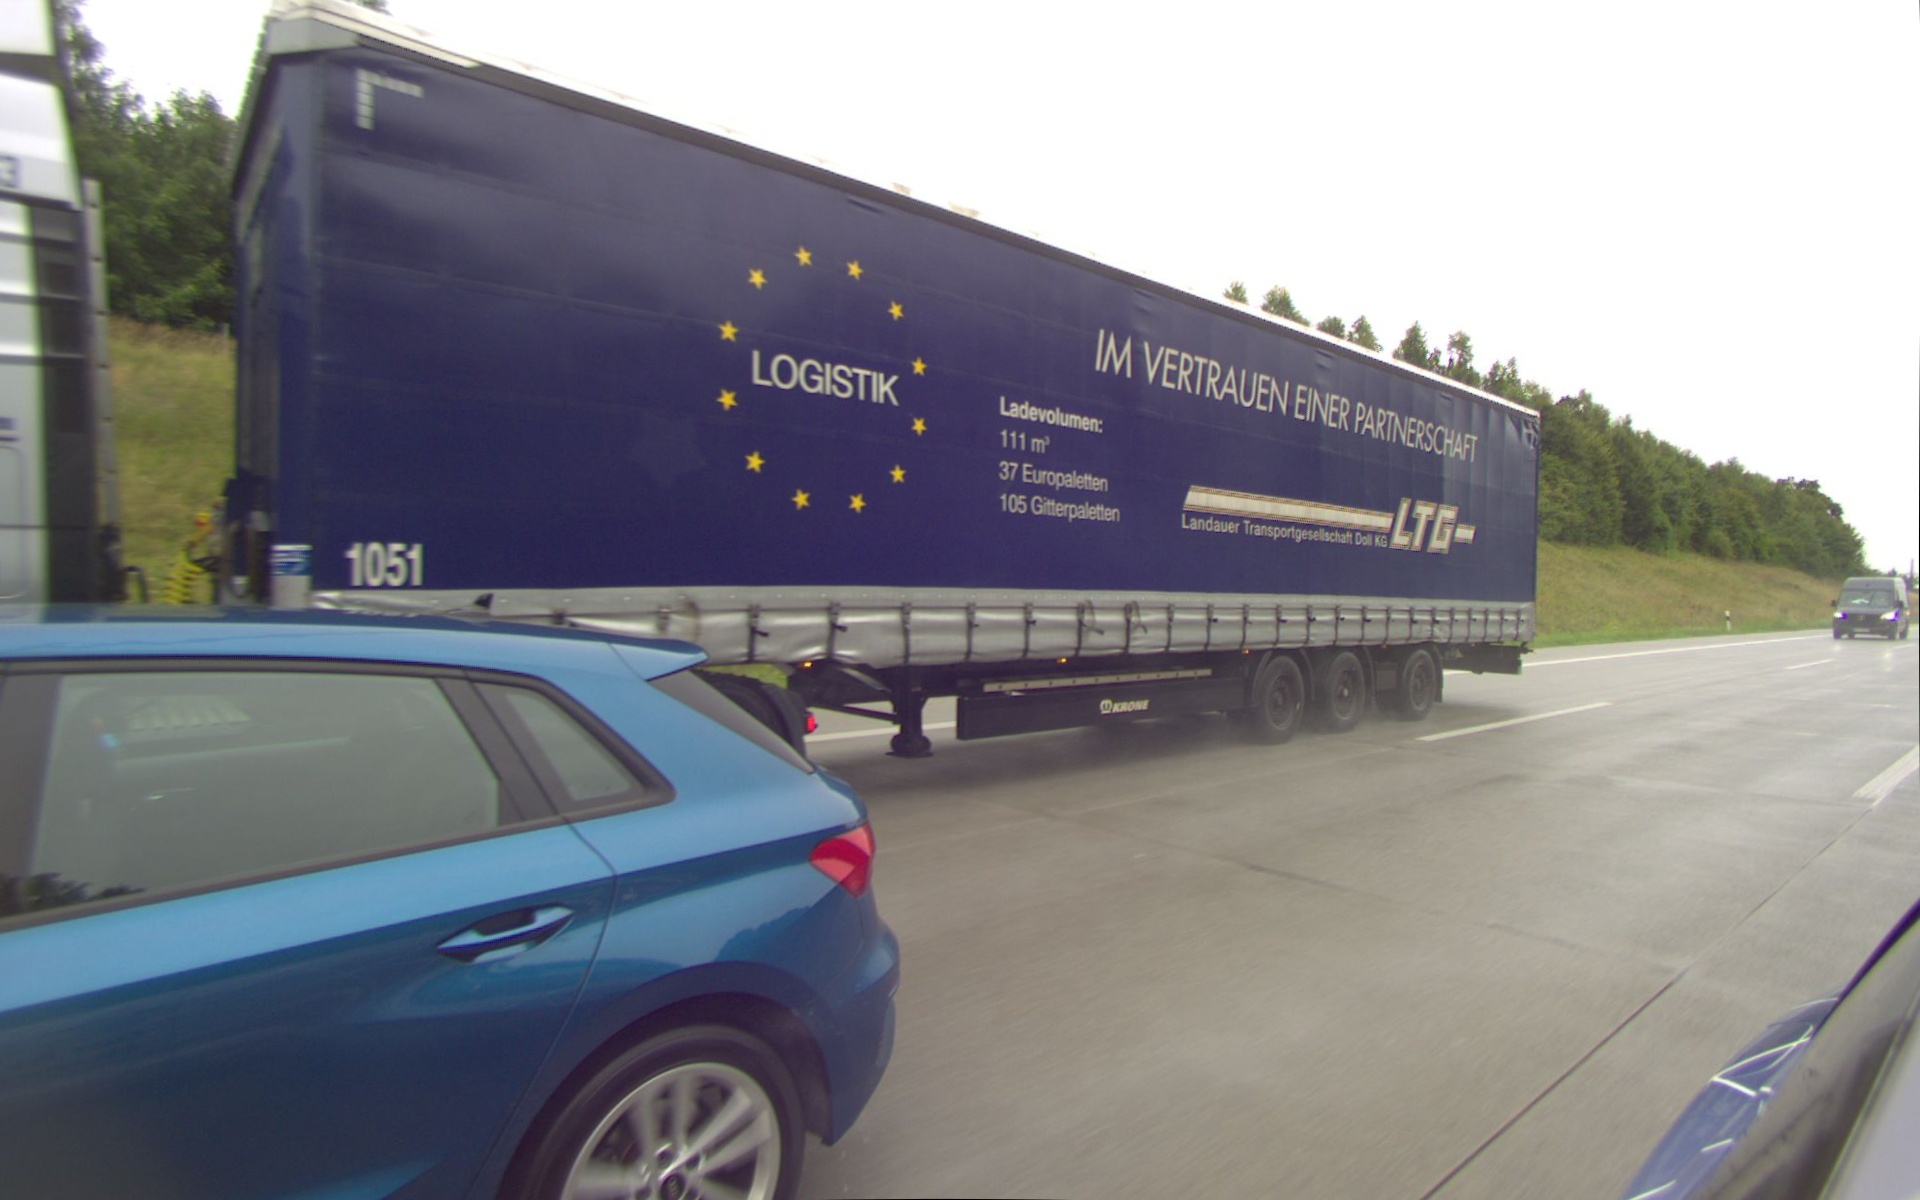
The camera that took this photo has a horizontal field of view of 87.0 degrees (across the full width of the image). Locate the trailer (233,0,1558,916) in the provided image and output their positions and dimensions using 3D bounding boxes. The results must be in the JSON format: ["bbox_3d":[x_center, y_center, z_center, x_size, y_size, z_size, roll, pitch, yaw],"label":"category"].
[{"bbox_3d":[1.884,-0.865,10.325,14.939,4.435,2.711,0,0,-41],"label":"trailer"}]

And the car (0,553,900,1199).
[{"bbox_3d":[-2.429,0.666,1.407,4.591,1.477,1.733,-1,2,-41],"label":"car"}]

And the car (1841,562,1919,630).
[{"bbox_3d":[39.543,-0.108,43.160,6.468,2.693,1.945,1,-1,-40],"label":"car"}]

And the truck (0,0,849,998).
[{"bbox_3d":[-3.647,-0.536,5.400,5.586,4.004,2.641,0,0,-41],"label":"truck"}]
